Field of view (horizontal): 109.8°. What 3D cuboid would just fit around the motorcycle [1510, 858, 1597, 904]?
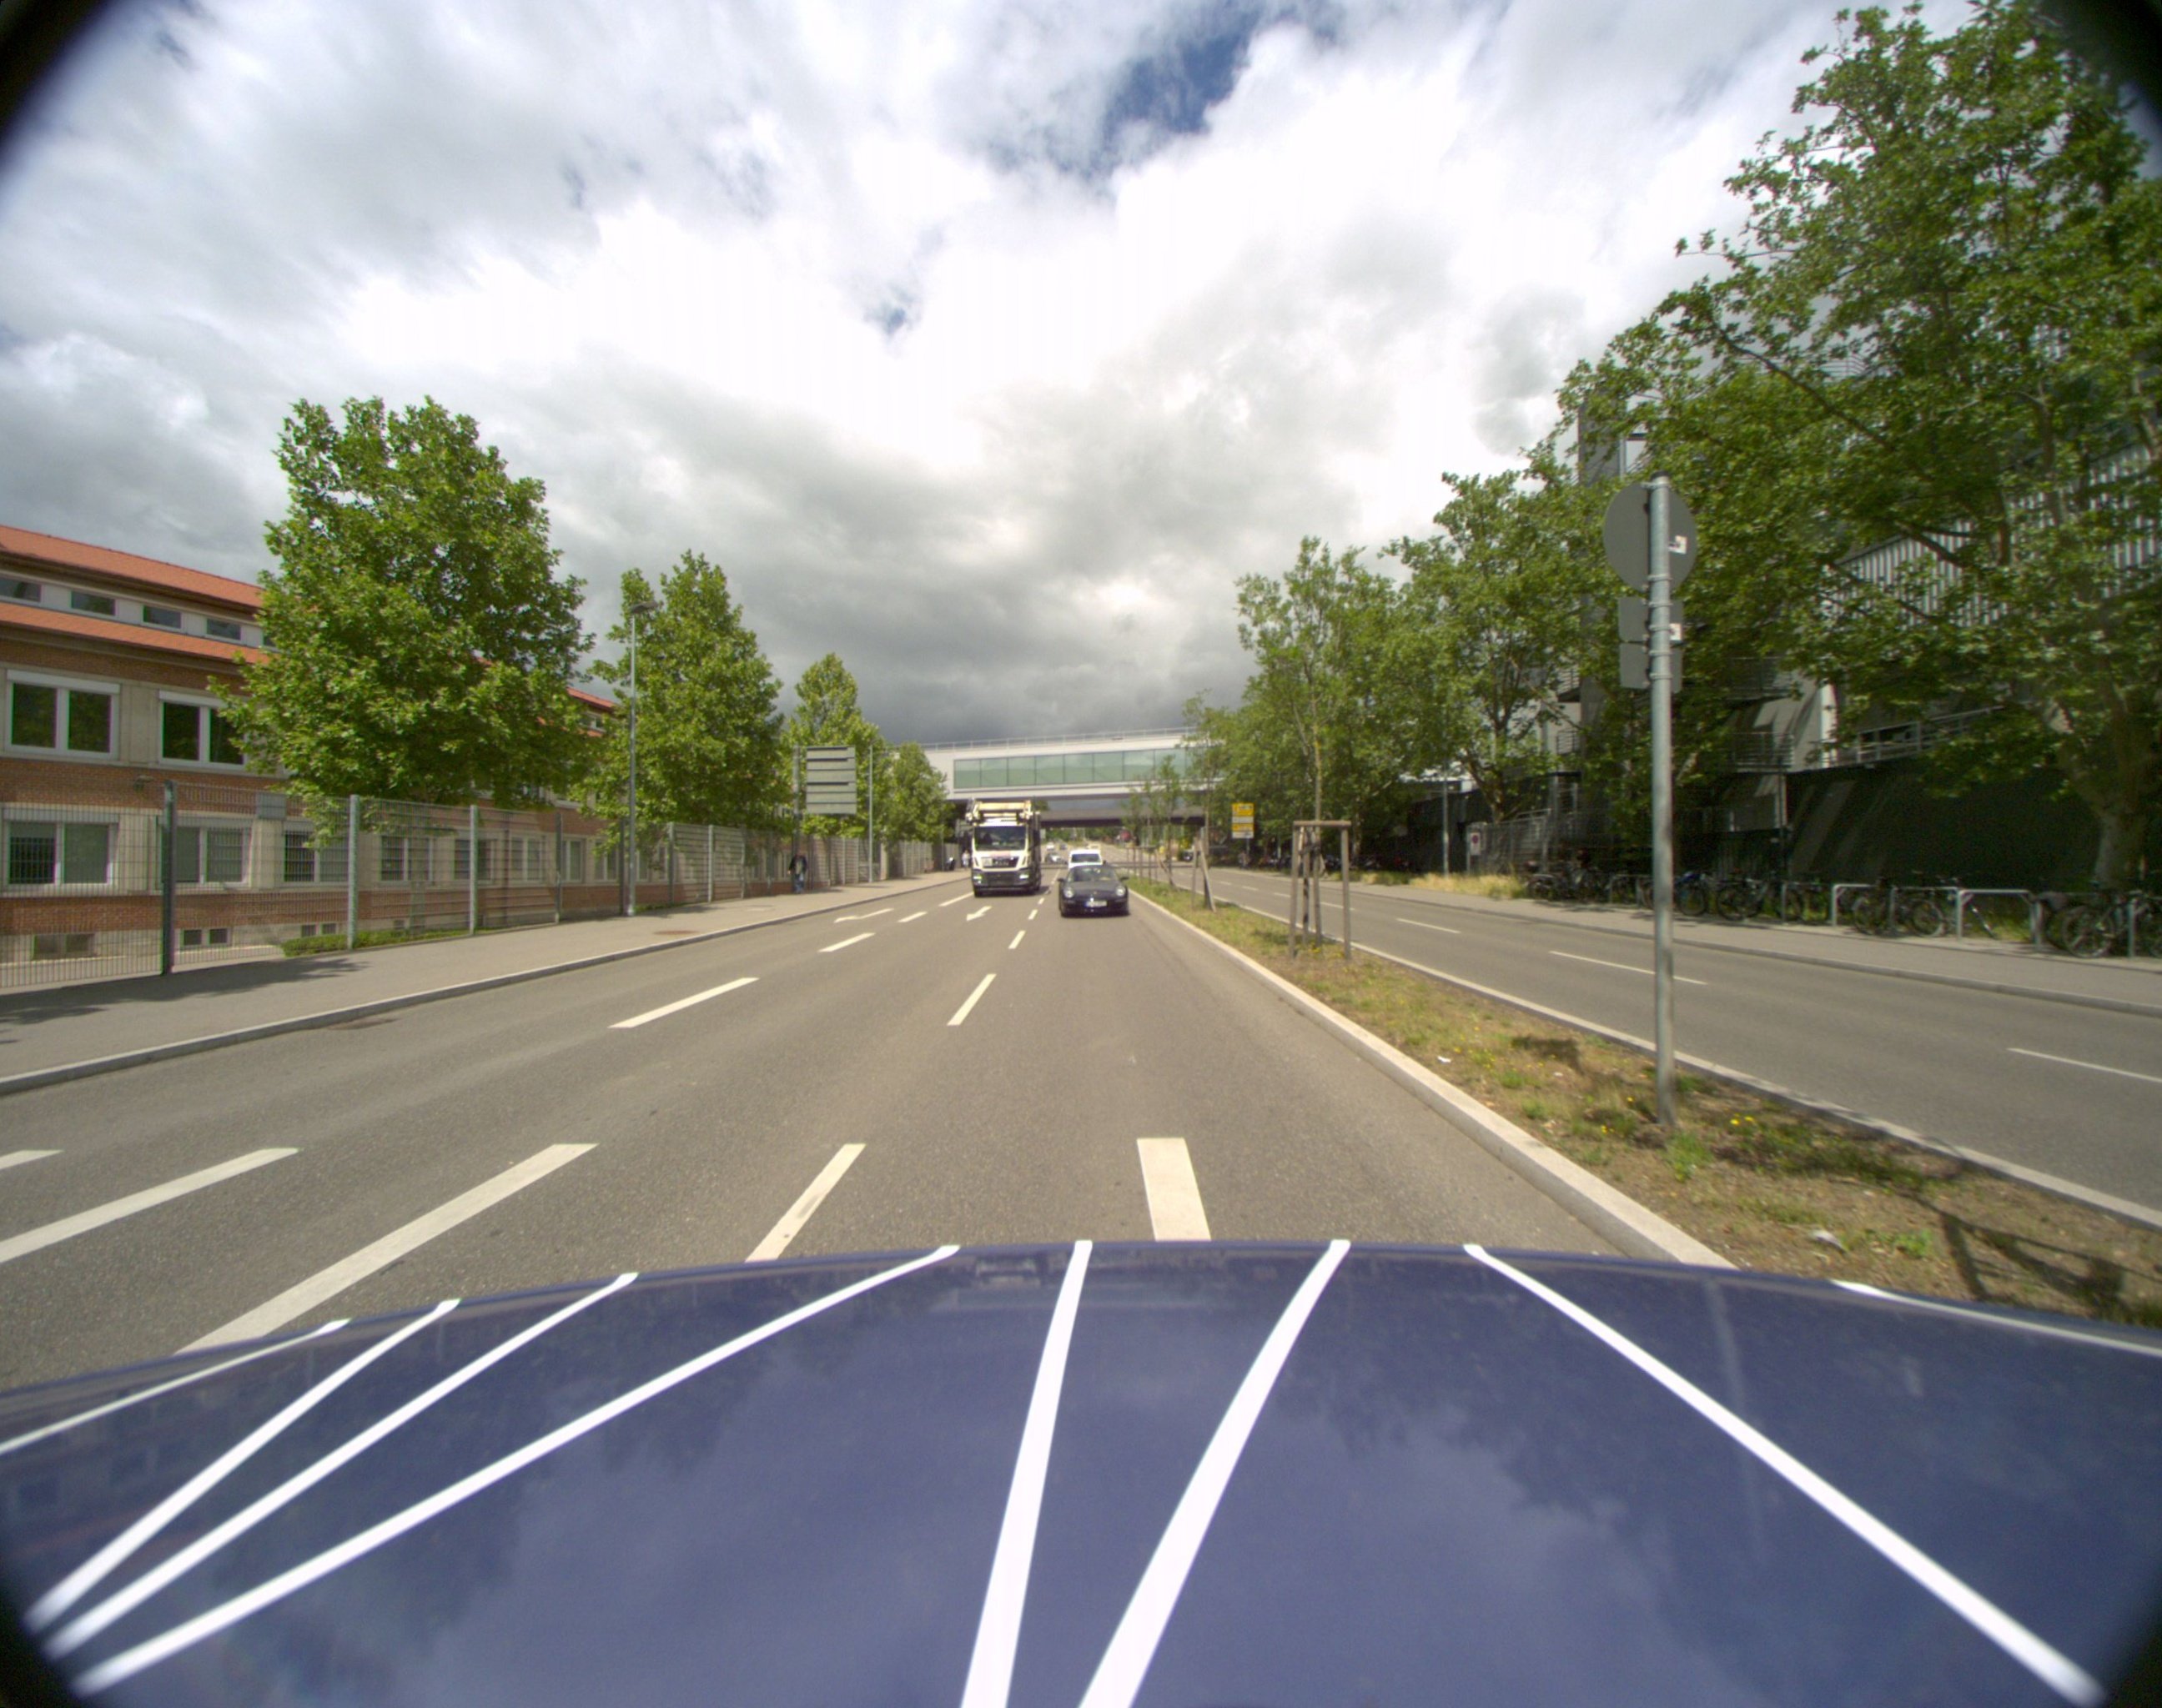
[{"bbox_3d":[14.256,0.803,22.944,2.139,1.301,0.806,-1,1,-2],"label":"motorcycle"}]

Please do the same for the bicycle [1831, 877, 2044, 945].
[{"bbox_3d":[14.734,0.960,13.143,2.569,1.089,0.696,0,1,10],"label":"bicycle"}]

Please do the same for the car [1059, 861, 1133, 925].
[{"bbox_3d":[0.323,0.927,19.732,1.675,1.390,3.999,-1,0,-1],"label":"car"}]

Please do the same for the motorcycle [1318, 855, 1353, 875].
[{"bbox_3d":[15.221,0.658,45.522,1.880,1.078,0.795,-3,-1,15],"label":"motorcycle"}]

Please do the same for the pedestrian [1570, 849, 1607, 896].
[{"bbox_3d":[17.047,0.611,25.541,0.755,1.543,0.821,-1,1,10],"label":"pedestrian"}]

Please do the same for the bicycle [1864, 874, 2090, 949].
[{"bbox_3d":[14.556,0.936,12.405,2.569,1.151,0.644,-1,1,10],"label":"bicycle"}]

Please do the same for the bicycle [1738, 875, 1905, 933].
[{"bbox_3d":[14.771,0.980,15.174,2.844,1.000,0.850,-1,1,-9],"label":"bicycle"}]

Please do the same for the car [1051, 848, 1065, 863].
[{"bbox_3d":[-3.376,0.205,110.831,1.999,2.002,3.999,-1,0,-2],"label":"car"}]

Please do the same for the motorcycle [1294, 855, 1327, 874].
[{"bbox_3d":[14.840,0.678,49.216,1.881,1.172,0.815,-3,-1,9],"label":"motorcycle"}]

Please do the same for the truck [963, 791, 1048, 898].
[{"bbox_3d":[-3.064,-0.363,33.663,2.787,3.981,10.085,-1,0,-1],"label":"truck"}]

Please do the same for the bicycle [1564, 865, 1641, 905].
[{"bbox_3d":[14.744,0.875,21.493,1.929,1.068,0.422,-1,1,-2],"label":"bicycle"}]

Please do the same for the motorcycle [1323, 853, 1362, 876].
[{"bbox_3d":[14.594,0.581,42.476,1.881,1.166,0.746,-3,-1,9],"label":"motorcycle"}]

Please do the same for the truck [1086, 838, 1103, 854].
[{"bbox_3d":[2.376,-1.437,137.165,2.486,2.735,6.456,-1,0,-3],"label":"truck"}]

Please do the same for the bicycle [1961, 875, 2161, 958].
[{"bbox_3d":[14.999,0.919,11.338,2.569,1.151,0.726,-1,1,10],"label":"bicycle"}]

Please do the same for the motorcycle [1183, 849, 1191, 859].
[{"bbox_3d":[12.800,-0.036,91.758,0.641,1.191,2.257,-3,1,-1],"label":"motorcycle"}]

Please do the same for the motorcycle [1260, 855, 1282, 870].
[{"bbox_3d":[15.251,0.652,60.997,1.595,1.116,0.776,-3,-1,1],"label":"motorcycle"}]

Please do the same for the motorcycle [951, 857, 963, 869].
[{"bbox_3d":[-11.770,0.864,72.111,0.709,1.058,2.510,2,1,-1],"label":"motorcycle"}]

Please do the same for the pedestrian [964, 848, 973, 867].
[{"bbox_3d":[-10.927,0.349,73.837,0.791,1.877,1.097,0,1,-1],"label":"pedestrian"}]

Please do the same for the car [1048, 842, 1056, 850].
[{"bbox_3d":[-8.119,-2.281,211.197,1.999,2.002,3.999,-1,0,-1],"label":"car"}]

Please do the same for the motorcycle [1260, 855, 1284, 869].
[{"bbox_3d":[14.973,0.660,59.624,1.595,1.027,0.776,-3,-1,1],"label":"motorcycle"}]

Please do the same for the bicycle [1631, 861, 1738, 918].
[{"bbox_3d":[14.341,0.825,18.076,1.923,1.275,0.806,-1,1,-2],"label":"bicycle"}]

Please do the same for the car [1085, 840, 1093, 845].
[{"bbox_3d":[2.235,-3.123,207.335,1.998,1.346,4.000,0,1,1],"label":"car"}]

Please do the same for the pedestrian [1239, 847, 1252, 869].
[{"bbox_3d":[12.675,0.295,58.618,0.769,1.603,0.813,-3,1,-1],"label":"pedestrian"}]

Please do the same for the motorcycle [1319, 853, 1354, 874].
[{"bbox_3d":[15.662,0.594,46.583,1.882,1.202,0.655,-3,-1,3],"label":"motorcycle"}]

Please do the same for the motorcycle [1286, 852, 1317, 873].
[{"bbox_3d":[15.077,0.584,51.896,1.934,1.336,0.866,-3,-1,20],"label":"motorcycle"}]

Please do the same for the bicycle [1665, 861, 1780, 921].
[{"bbox_3d":[14.376,0.813,17.049,1.923,1.275,0.806,-1,1,-2],"label":"bicycle"}]

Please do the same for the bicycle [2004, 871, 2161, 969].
[{"bbox_3d":[14.255,0.892,10.433,2.410,1.250,0.556,-1,1,2],"label":"bicycle"}]

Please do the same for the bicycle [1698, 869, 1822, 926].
[{"bbox_3d":[14.320,0.904,16.061,1.923,1.116,0.806,-1,1,-2],"label":"bicycle"}]

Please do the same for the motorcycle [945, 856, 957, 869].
[{"bbox_3d":[-11.823,0.761,68.979,0.670,1.058,2.246,2,1,-1],"label":"motorcycle"}]

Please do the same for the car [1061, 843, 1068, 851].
[{"bbox_3d":[-4.585,-2.020,215.996,1.999,2.002,3.999,-1,0,-1],"label":"car"}]

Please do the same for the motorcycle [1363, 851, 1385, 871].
[{"bbox_3d":[18.629,0.449,48.346,0.654,1.202,1.984,-3,-1,4],"label":"motorcycle"}]

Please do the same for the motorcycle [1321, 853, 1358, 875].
[{"bbox_3d":[15.099,0.598,44.454,1.881,1.179,0.730,-3,0,8],"label":"motorcycle"}]

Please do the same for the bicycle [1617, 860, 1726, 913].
[{"bbox_3d":[14.904,0.806,19.213,2.139,1.275,0.806,-1,1,-2],"label":"bicycle"}]

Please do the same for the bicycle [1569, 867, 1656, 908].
[{"bbox_3d":[14.693,0.911,21.024,2.086,1.056,0.497,-1,1,-2],"label":"bicycle"}]

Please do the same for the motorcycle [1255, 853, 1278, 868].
[{"bbox_3d":[15.214,0.519,62.330,1.596,1.116,0.775,-3,-1,-9],"label":"motorcycle"}]

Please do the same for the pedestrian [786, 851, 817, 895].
[{"bbox_3d":[-11.307,0.741,30.771,0.879,1.733,0.940,1,1,-1],"label":"pedestrian"}]

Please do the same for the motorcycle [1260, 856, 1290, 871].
[{"bbox_3d":[14.679,0.719,57.462,1.939,1.109,0.920,1,1,-12],"label":"motorcycle"}]

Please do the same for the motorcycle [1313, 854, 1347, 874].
[{"bbox_3d":[15.644,0.626,47.813,1.882,1.172,0.698,-3,-1,3],"label":"motorcycle"}]

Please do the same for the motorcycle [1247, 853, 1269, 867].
[{"bbox_3d":[14.998,0.514,64.374,1.745,1.164,0.777,-3,-1,8],"label":"motorcycle"}]

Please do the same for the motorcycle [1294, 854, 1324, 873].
[{"bbox_3d":[15.105,0.627,50.377,1.880,1.172,0.816,-3,-1,15],"label":"motorcycle"}]

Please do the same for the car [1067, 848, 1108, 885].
[{"bbox_3d":[0.286,0.600,39.017,1.929,1.728,3.999,-1,0,-1],"label":"car"}]

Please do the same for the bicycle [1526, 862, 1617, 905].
[{"bbox_3d":[14.331,0.843,22.235,2.139,1.173,0.806,-1,1,-2],"label":"bicycle"}]

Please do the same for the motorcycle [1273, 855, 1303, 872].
[{"bbox_3d":[15.162,0.682,55.769,1.933,1.109,0.923,-3,-1,27],"label":"motorcycle"}]

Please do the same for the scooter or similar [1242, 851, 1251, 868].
[{"bbox_3d":[13.170,0.434,60.518,0.355,1.229,1.479,-2,2,-1],"label":"scooter or similar"}]

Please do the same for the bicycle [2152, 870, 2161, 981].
[{"bbox_3d":[14.316,0.861,9.112,2.172,1.356,0.490,-1,1,2],"label":"bicycle"}]

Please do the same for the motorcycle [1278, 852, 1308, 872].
[{"bbox_3d":[15.147,0.572,54.217,1.934,1.283,0.894,-3,-1,20],"label":"motorcycle"}]

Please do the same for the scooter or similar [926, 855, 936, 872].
[{"bbox_3d":[-12.195,0.768,61.781,0.492,1.287,1.336,0,1,-1],"label":"scooter or similar"}]
